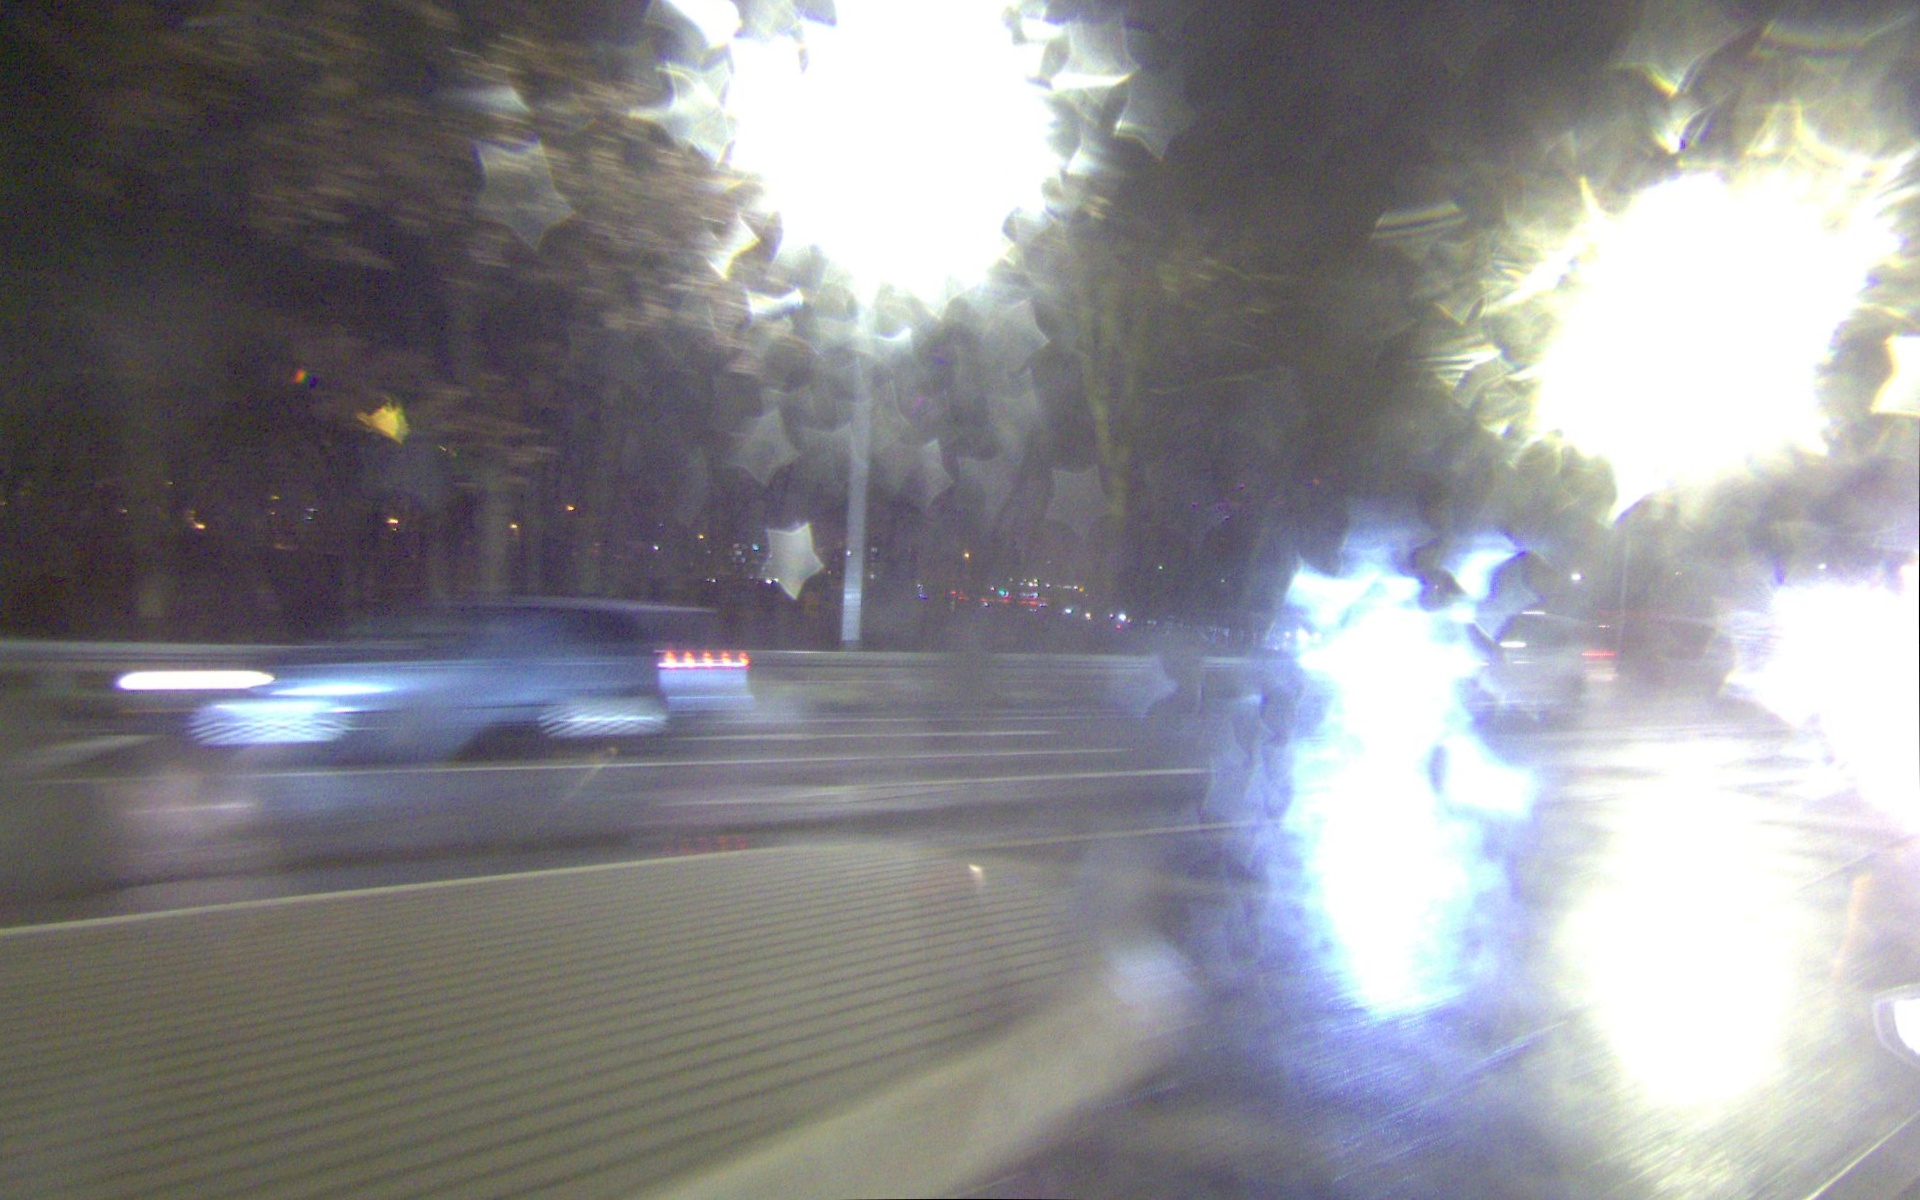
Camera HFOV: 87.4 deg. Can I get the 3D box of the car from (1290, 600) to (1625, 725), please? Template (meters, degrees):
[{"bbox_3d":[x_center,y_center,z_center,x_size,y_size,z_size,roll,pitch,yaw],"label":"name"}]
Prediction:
[{"bbox_3d":[7.462,0.866,15.025,4.768,1.626,1.979,1,-1,-25],"label":"car"}]

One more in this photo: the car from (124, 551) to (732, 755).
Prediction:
[{"bbox_3d":[-4.785,0.473,9.817,4.761,1.626,1.982,1,0,-21],"label":"car"}]
